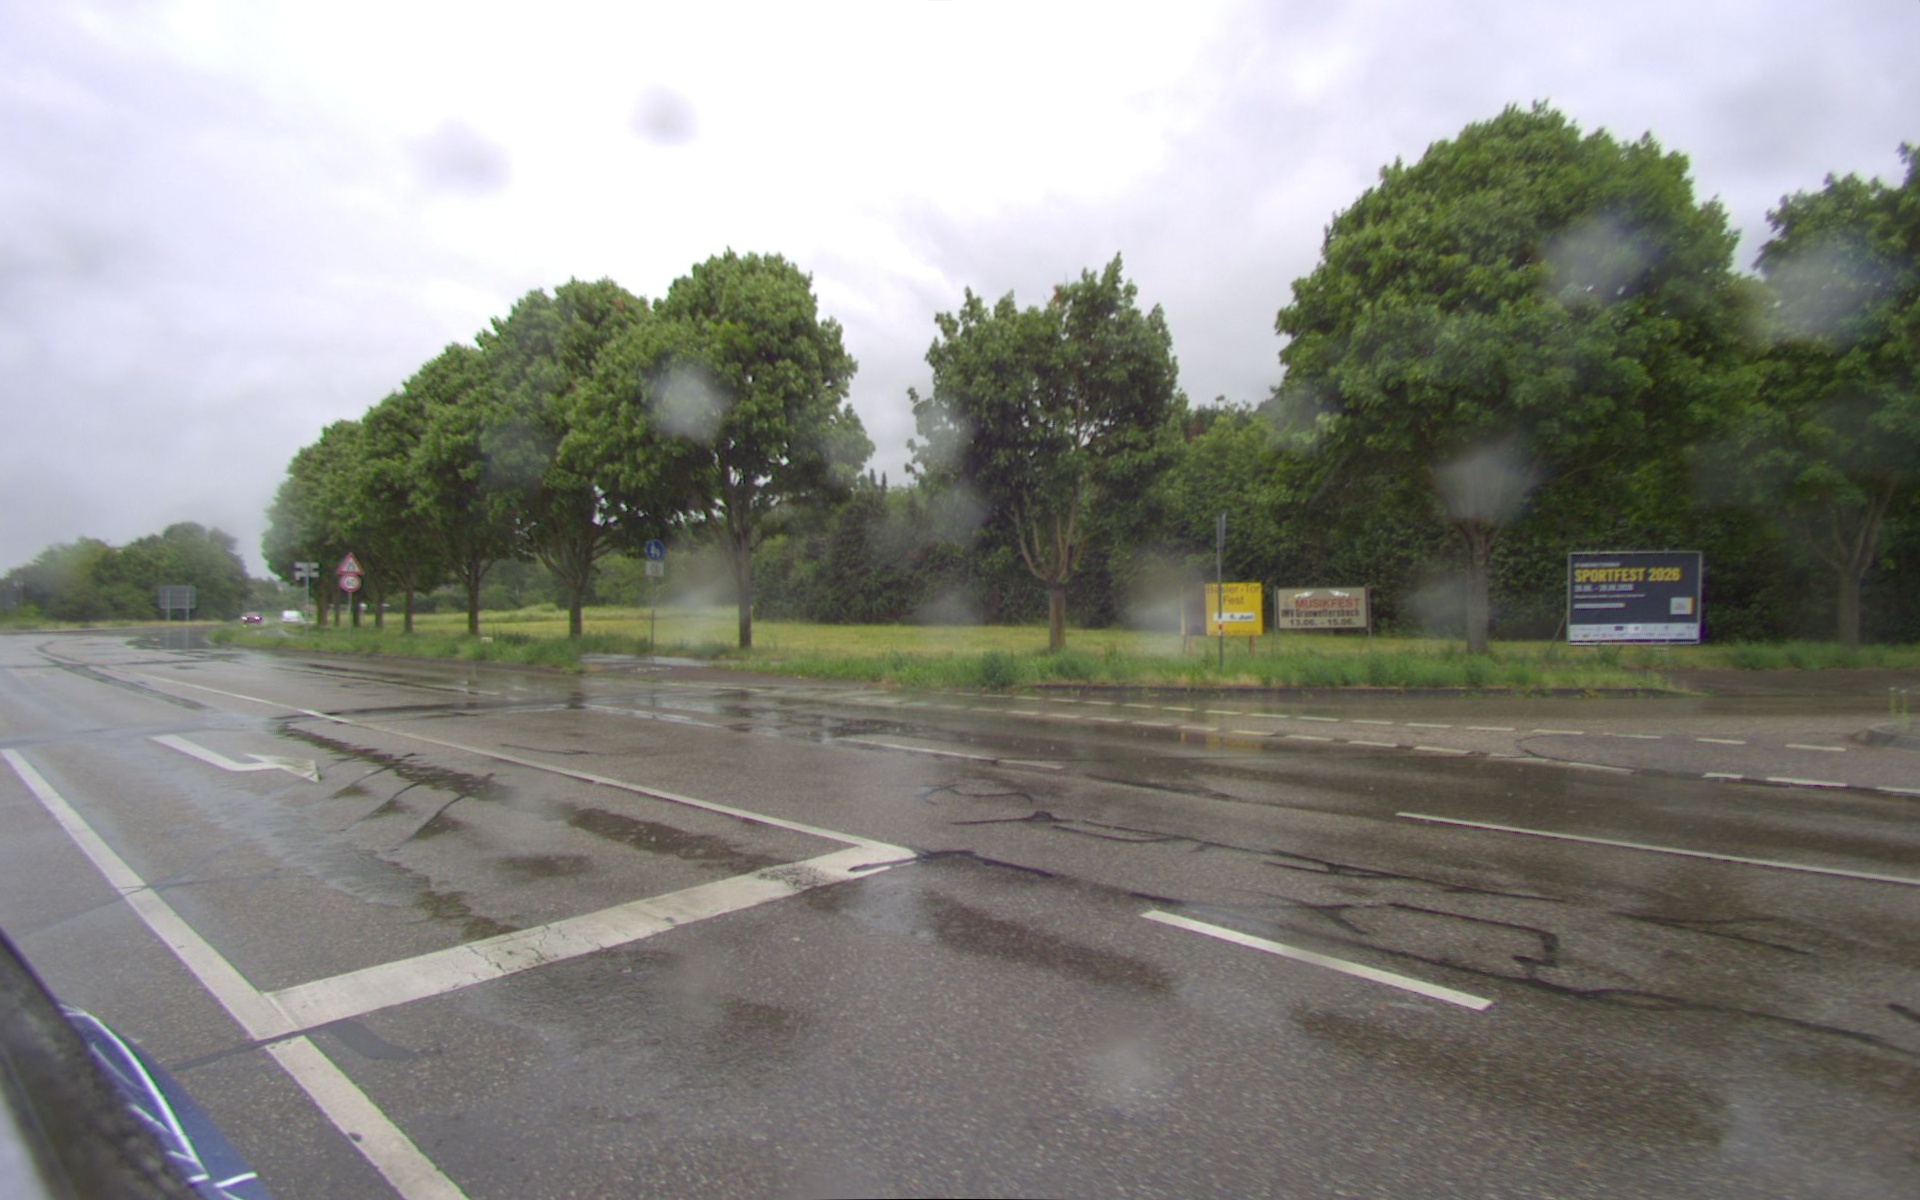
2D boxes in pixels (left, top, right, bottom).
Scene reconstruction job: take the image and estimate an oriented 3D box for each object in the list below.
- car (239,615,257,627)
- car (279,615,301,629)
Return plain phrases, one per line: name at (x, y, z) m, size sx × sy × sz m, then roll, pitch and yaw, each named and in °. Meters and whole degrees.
car at (-100.234, 2.950, 142.486) m, size 1.885 × 1.701 × 4.115 m, roll 0°, pitch 0°, yaw -33°
car at (-96.006, 3.068, 145.035) m, size 2.077 × 1.907 × 4.806 m, roll 0°, pitch 0°, yaw -26°
